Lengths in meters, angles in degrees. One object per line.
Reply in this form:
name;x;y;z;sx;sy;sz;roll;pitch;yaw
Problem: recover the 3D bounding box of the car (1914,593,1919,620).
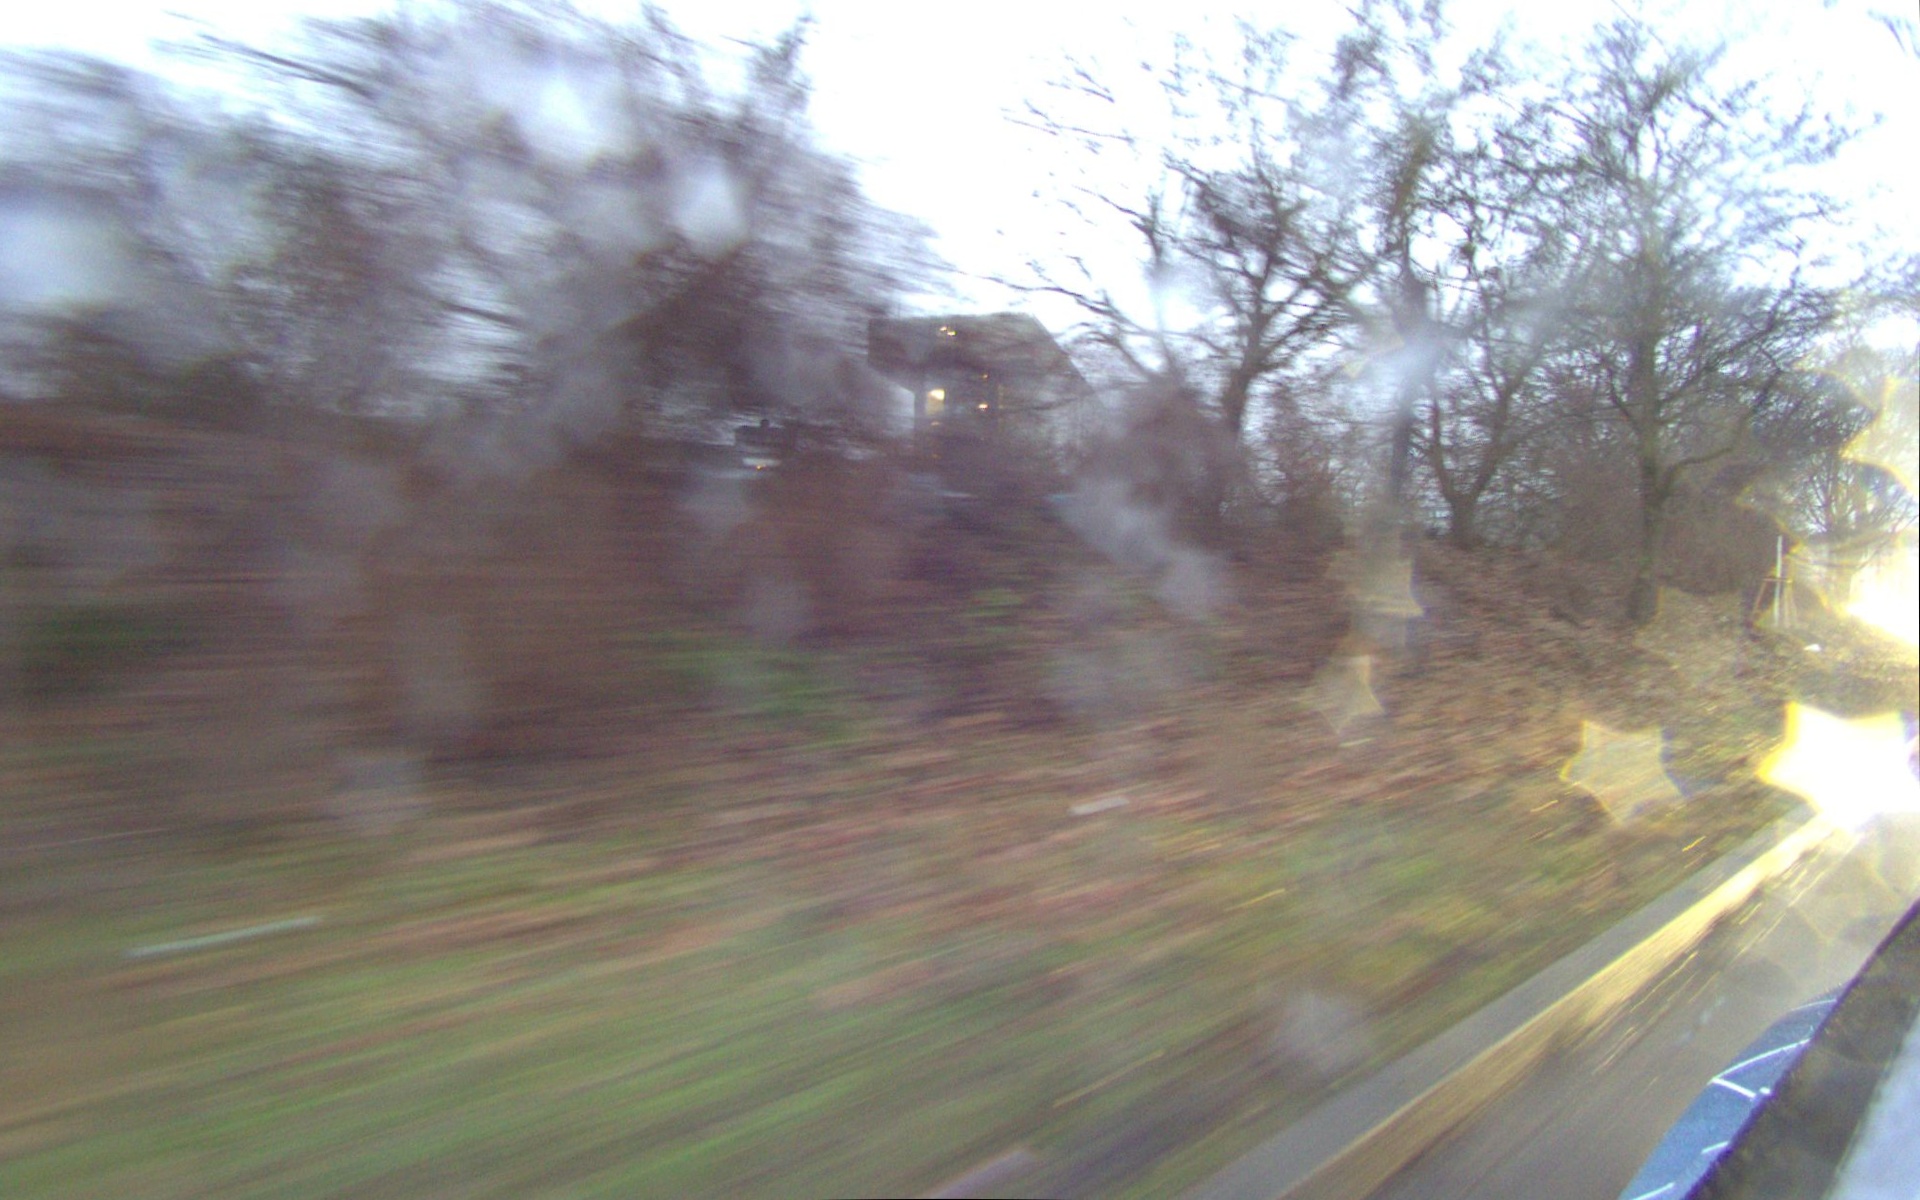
car;56.751;0.375;58.478;1.940;1.575;4.160;0;0;37
